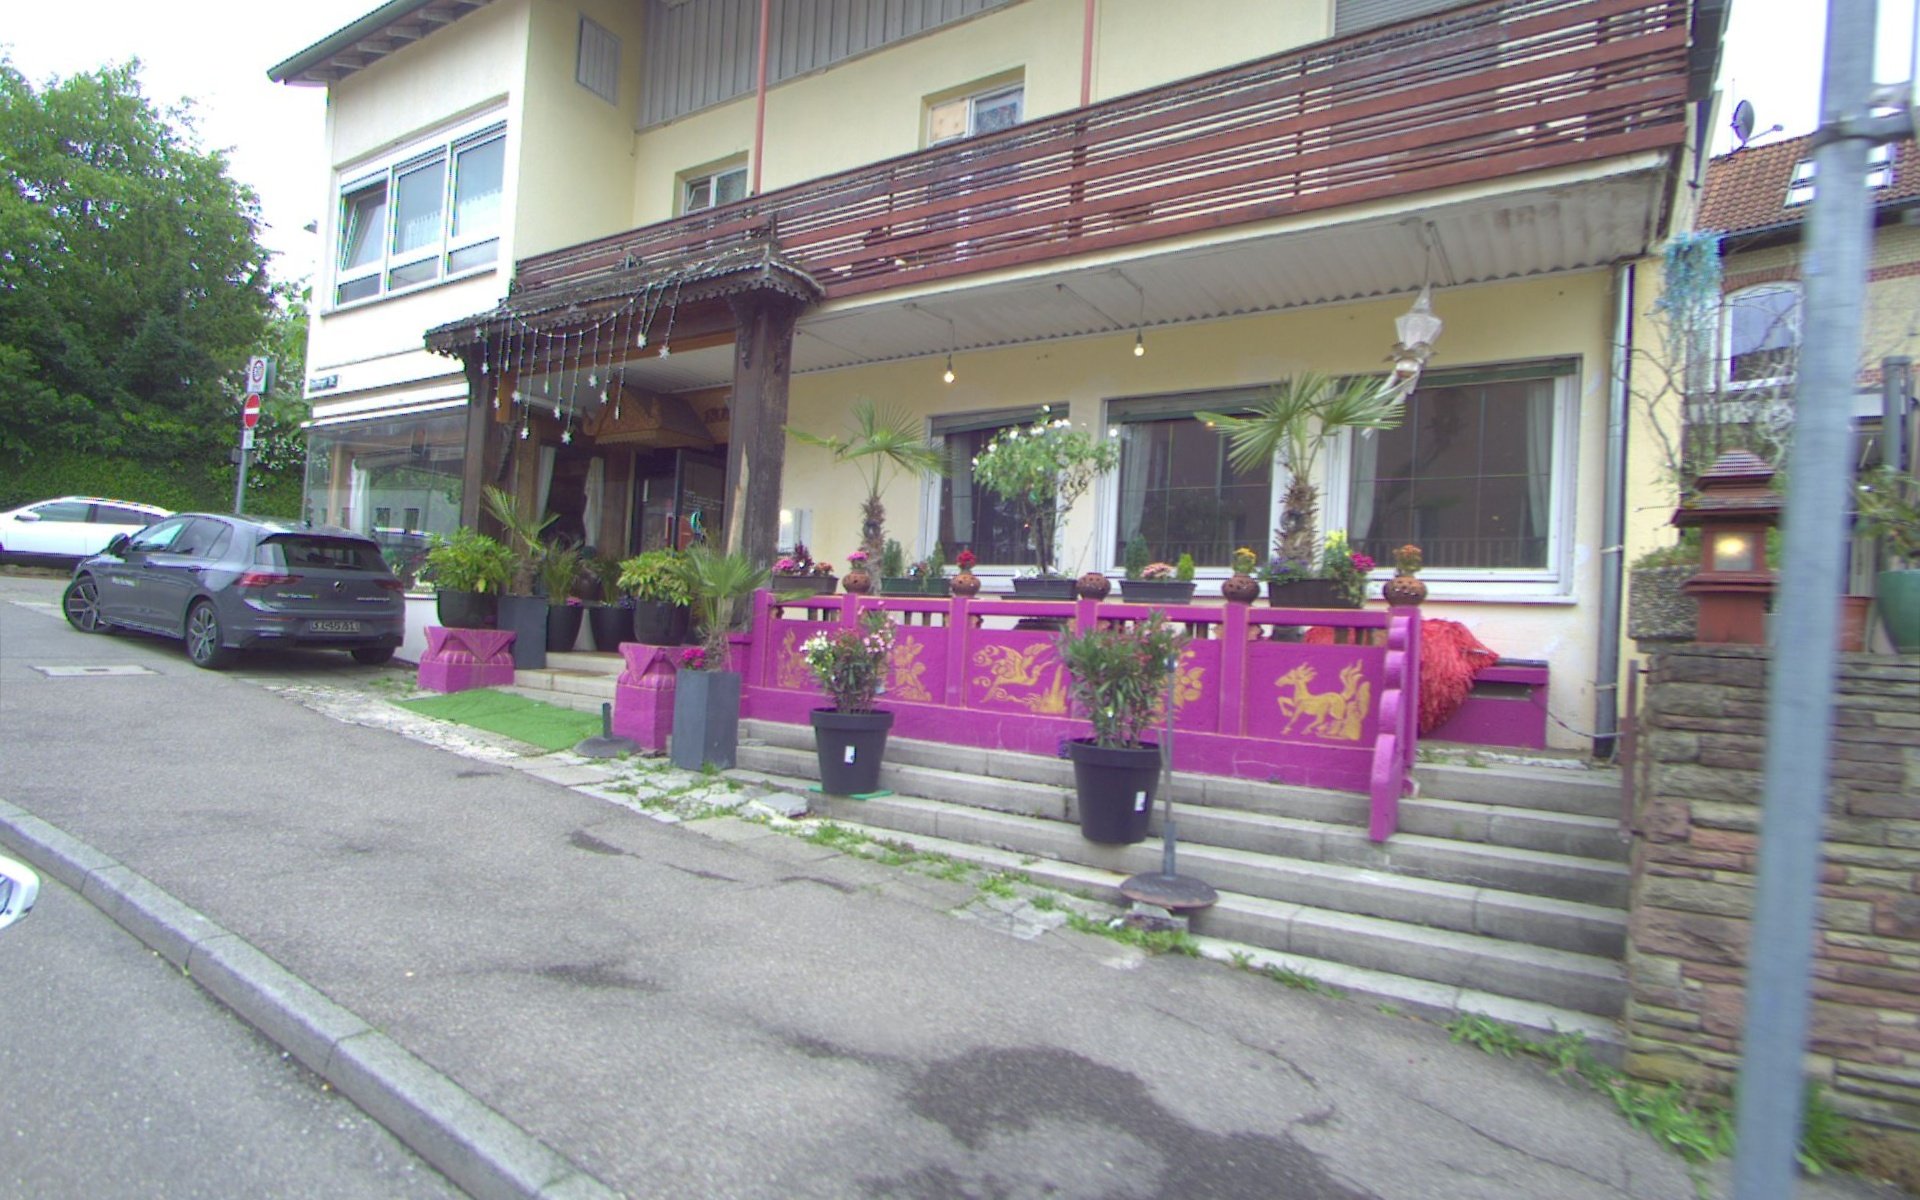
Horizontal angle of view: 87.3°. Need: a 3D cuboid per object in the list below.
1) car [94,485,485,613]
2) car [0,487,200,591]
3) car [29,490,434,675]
[{"bbox_3d":[-9.787,-0.678,15.025,1.810,1.343,4.492,5,-1,39],"label":"car"},{"bbox_3d":[-17.540,-1.180,19.518,4.225,1.612,1.966,7,-3,-43],"label":"car"},{"bbox_3d":[-7.906,-0.240,10.836,4.311,1.492,1.850,6,2,29],"label":"car"}]
